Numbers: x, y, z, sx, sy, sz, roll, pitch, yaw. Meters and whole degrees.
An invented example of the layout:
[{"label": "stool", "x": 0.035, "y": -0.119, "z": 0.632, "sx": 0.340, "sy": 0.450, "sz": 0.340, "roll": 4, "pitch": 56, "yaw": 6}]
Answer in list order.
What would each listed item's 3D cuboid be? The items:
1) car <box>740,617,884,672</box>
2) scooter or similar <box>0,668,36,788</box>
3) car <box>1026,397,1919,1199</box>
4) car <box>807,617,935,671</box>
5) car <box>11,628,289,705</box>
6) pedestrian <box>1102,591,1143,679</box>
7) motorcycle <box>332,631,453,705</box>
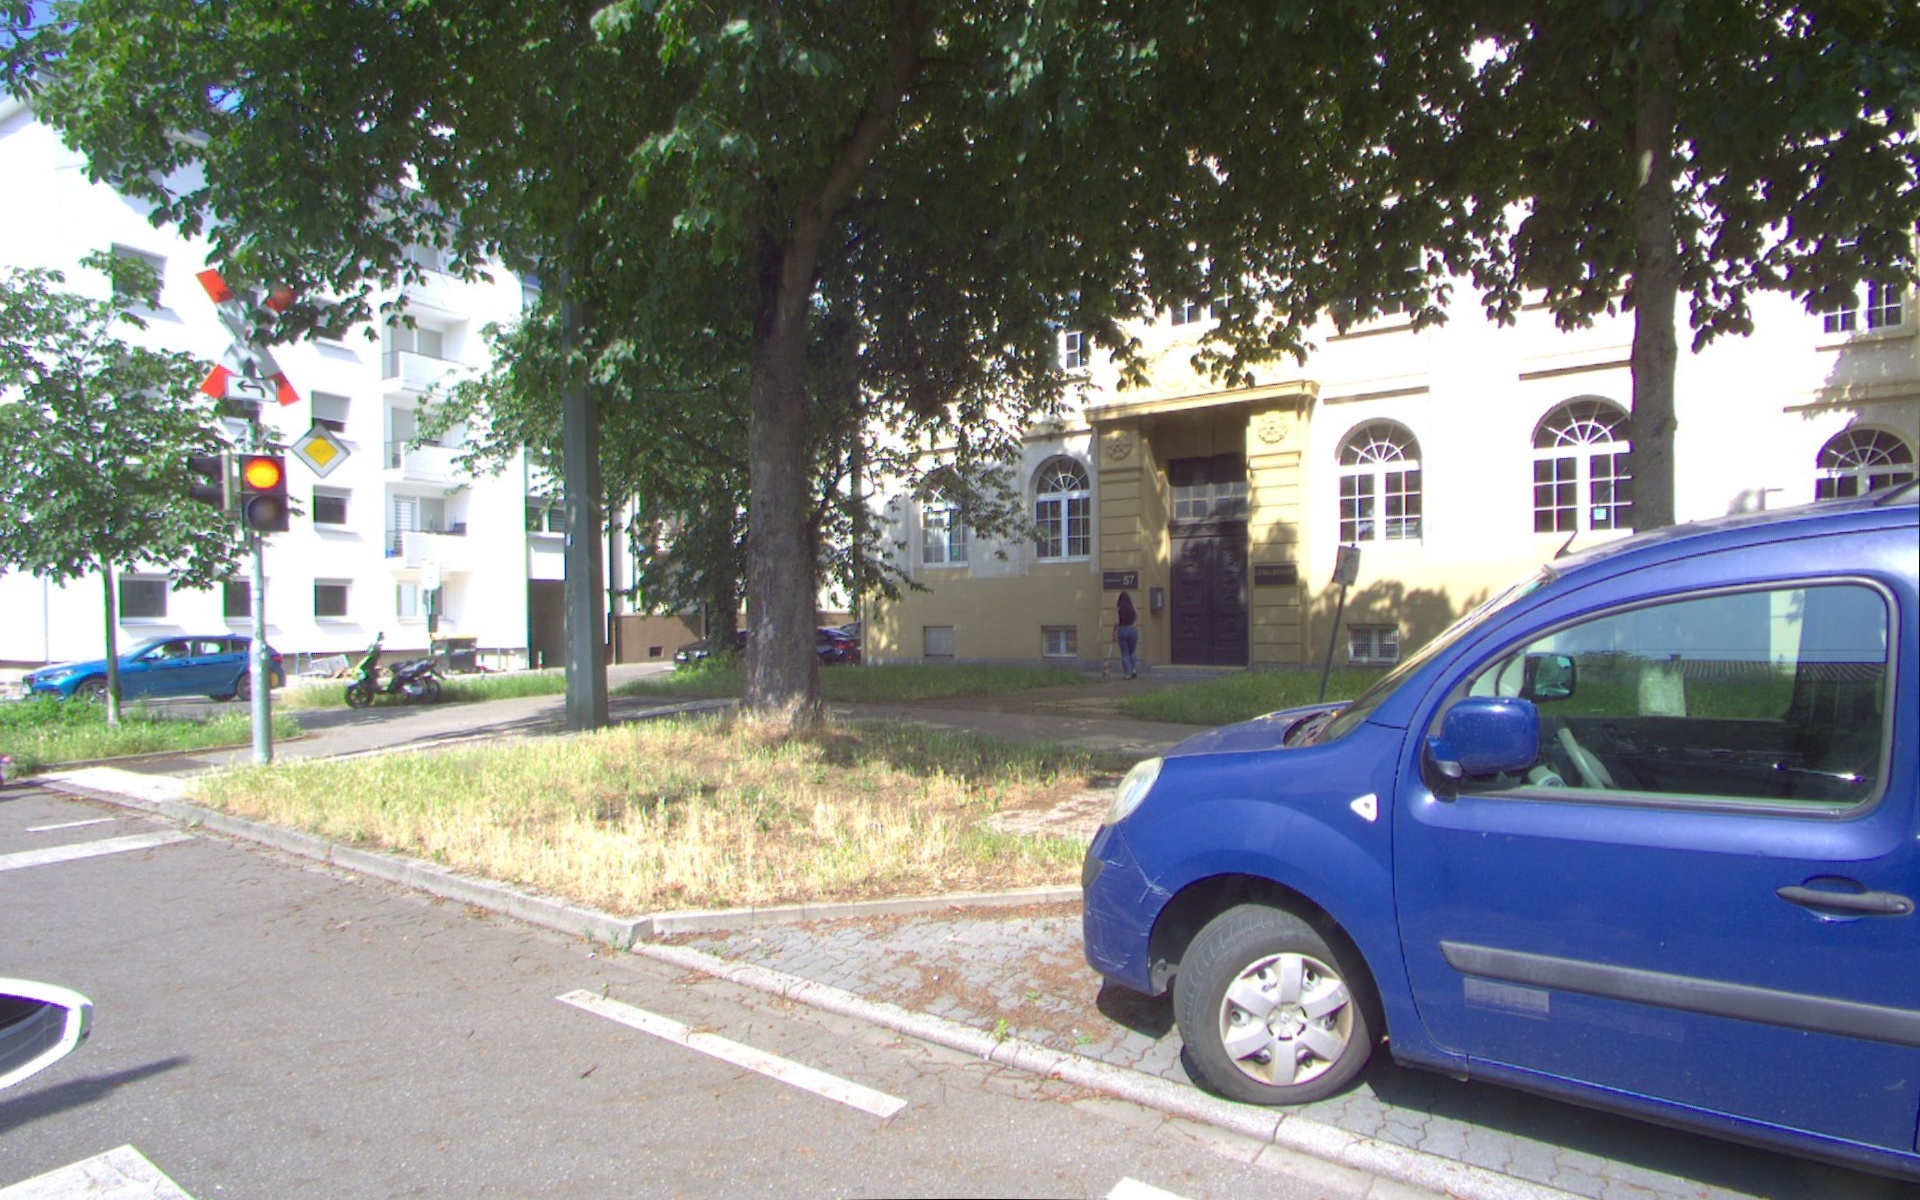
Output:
[{"label": "car", "x": -4.295, "y": 1.261, "z": 28.937, "sx": 3.942, "sy": 1.478, "sz": 1.736, "roll": -1, "pitch": 0, "yaw": 32}, {"label": "scooter or similar", "x": -9.073, "y": 1.154, "z": 8.913, "sx": 0.641, "sy": 1.069, "sz": 1.099, "roll": -1, "pitch": -2, "yaw": 29}, {"label": "car", "x": 2.418, "y": 0.536, "z": 2.837, "sx": 4.128, "sy": 1.921, "sz": 1.816, "roll": 0, "pitch": 1, "yaw": 36}, {"label": "car", "x": -2.820, "y": 1.328, "z": 31.332, "sx": 3.955, "sy": 1.560, "sz": 1.797, "roll": -1, "pitch": -1, "yaw": 42}, {"label": "car", "x": -16.684, "y": 1.330, "z": 20.842, "sx": 1.755, "sy": 1.430, "sz": 4.160, "roll": -1, "pitch": -3, "yaw": 32}, {"label": "pedestrian", "x": 3.068, "y": 0.654, "z": 18.868, "sx": 0.532, "sy": 1.617, "sz": 0.630, "roll": -1, "pitch": 0, "yaw": 31}, {"label": "motorcycle", "x": -10.389, "y": 1.242, "z": 18.355, "sx": 1.811, "sy": 1.233, "sz": 0.571, "roll": -2, "pitch": 4, "yaw": 0}]
